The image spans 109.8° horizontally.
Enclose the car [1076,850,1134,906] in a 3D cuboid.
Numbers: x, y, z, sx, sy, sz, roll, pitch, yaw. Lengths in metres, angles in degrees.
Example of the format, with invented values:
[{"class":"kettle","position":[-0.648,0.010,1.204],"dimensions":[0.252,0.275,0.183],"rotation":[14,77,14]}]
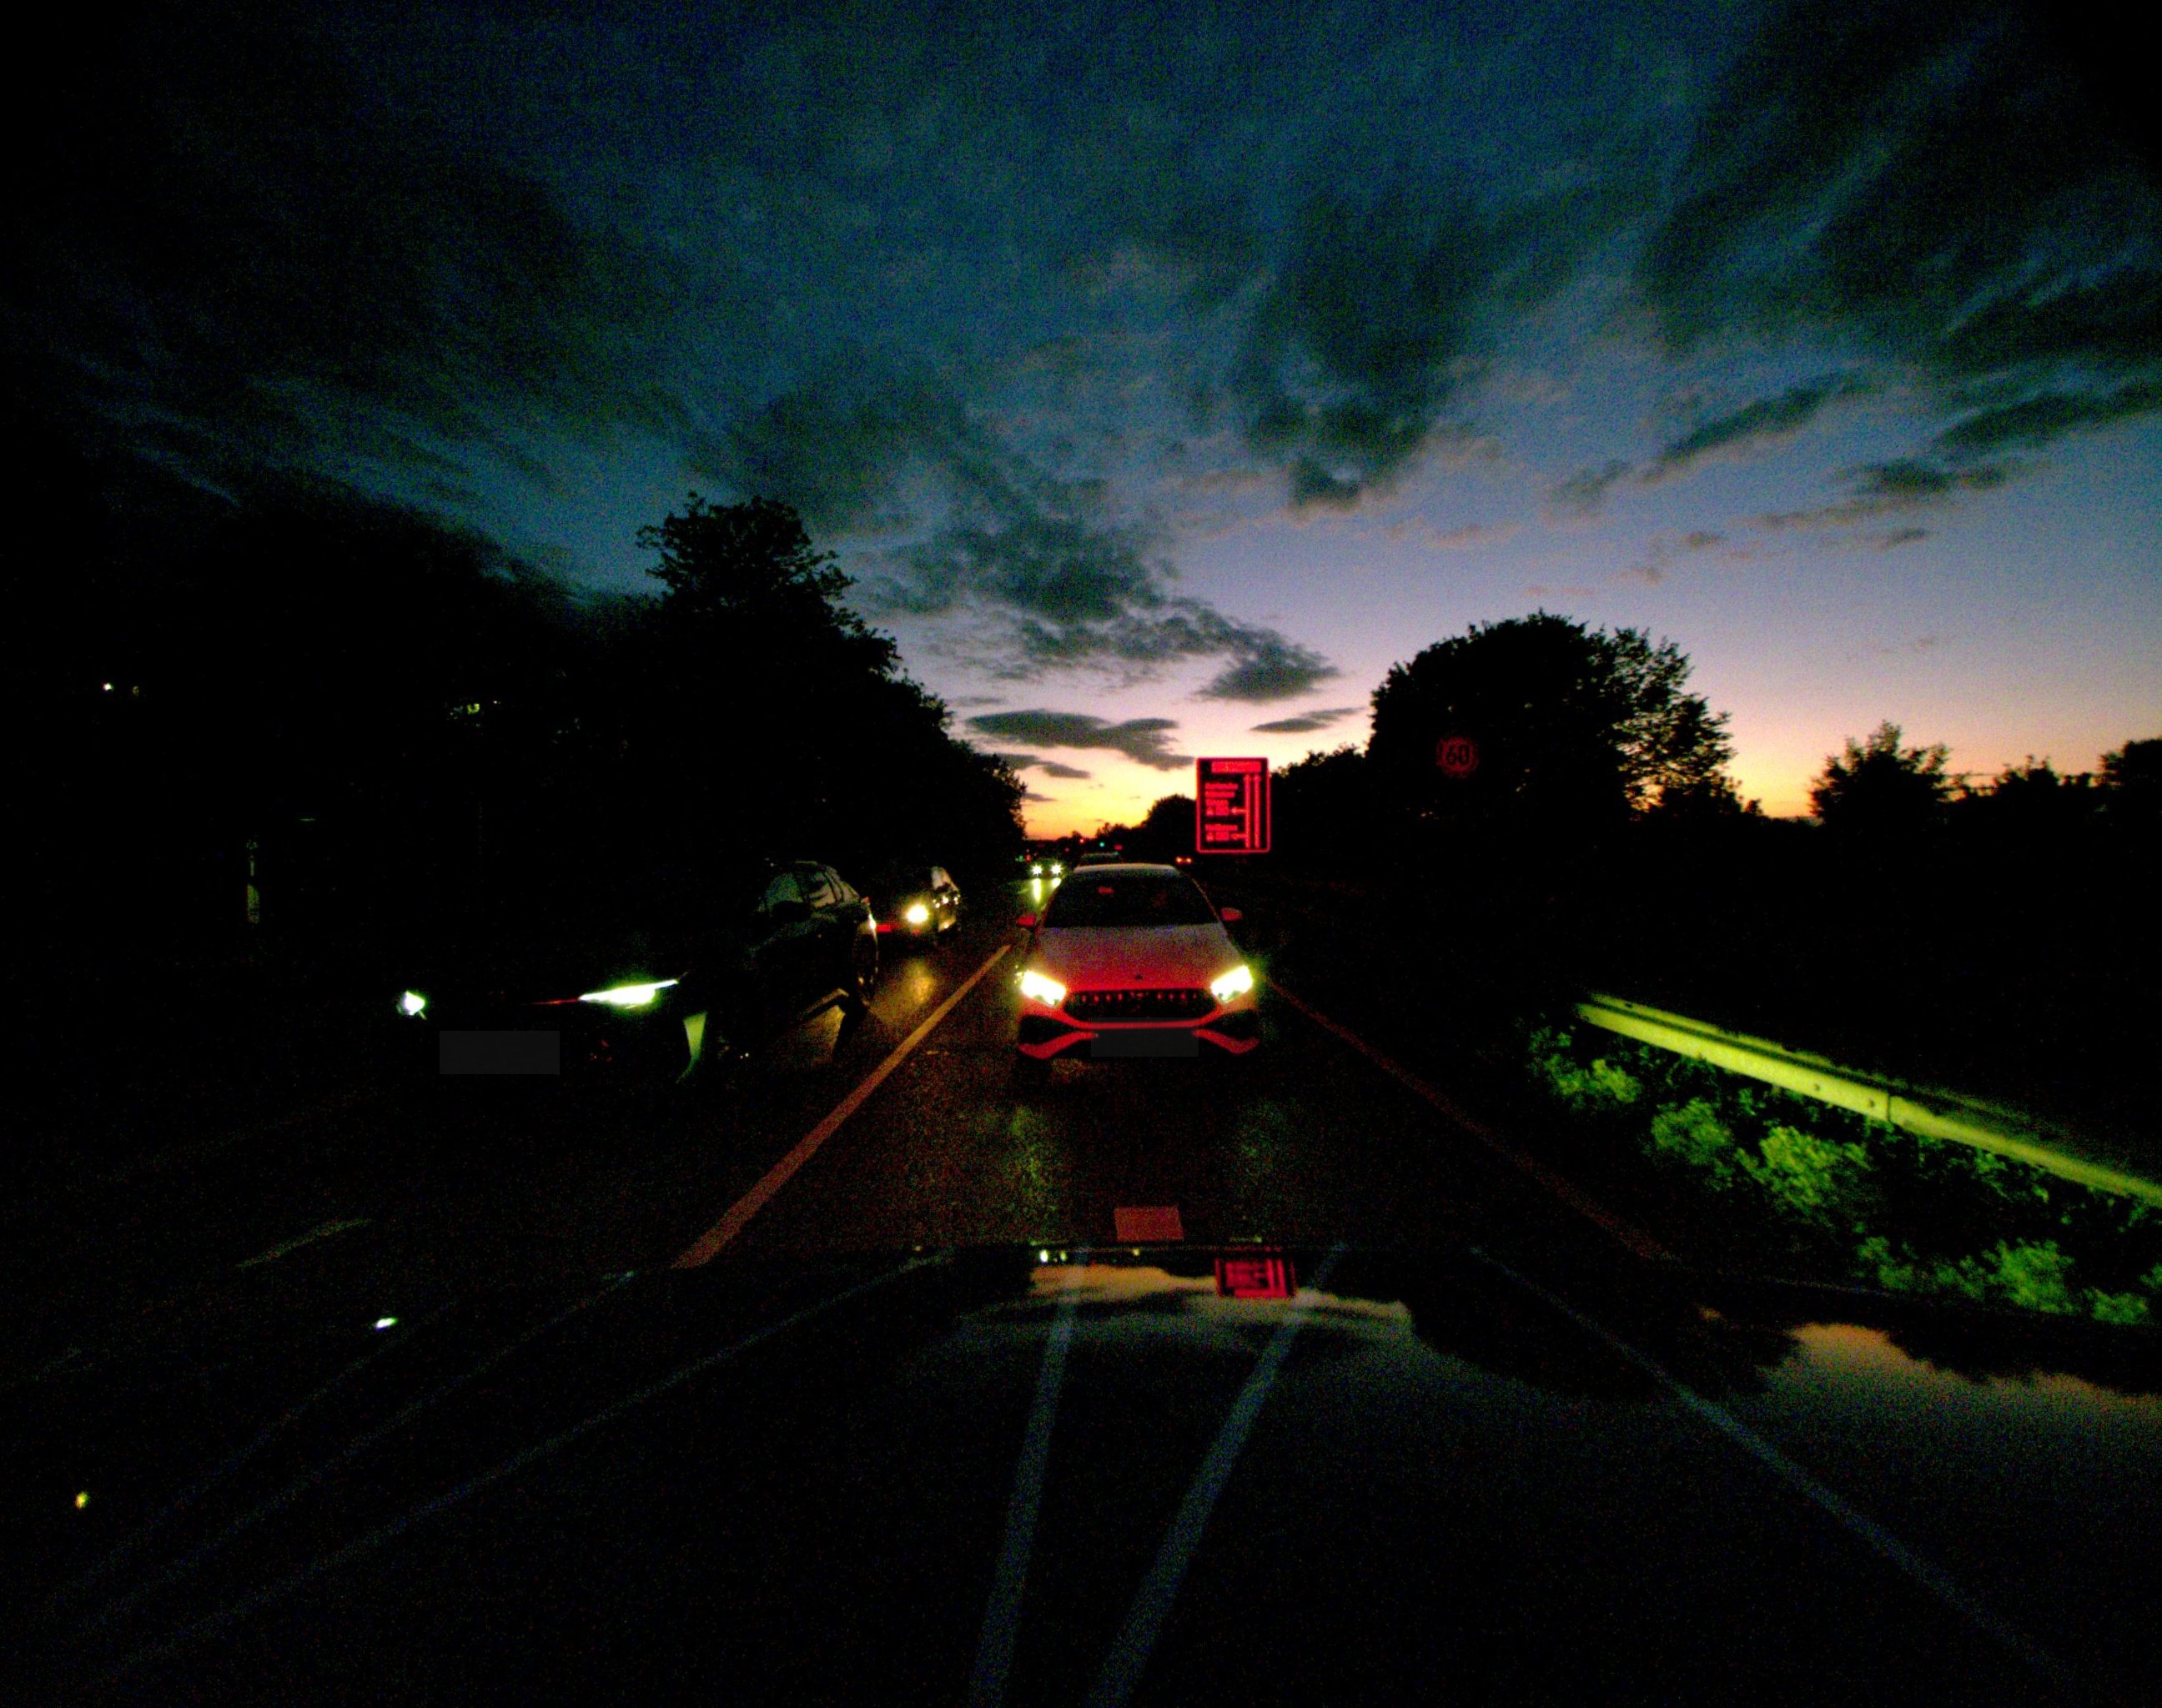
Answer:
[{"class":"car","position":[0.744,0.766,26.065],"dimensions":[1.760,1.692,4.249],"rotation":[-2,0,0]}]

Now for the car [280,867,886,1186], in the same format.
[{"class":"car","position":[-3.174,0.948,6.140],"dimensions":[1.901,1.547,4.301],"rotation":[-3,0,2]}]

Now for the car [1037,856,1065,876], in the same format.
[{"class":"car","position":[-2.270,0.915,58.407],"dimensions":[1.819,1.360,3.999],"rotation":[-2,1,1]}]

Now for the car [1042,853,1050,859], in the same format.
[{"class":"car","position":[-8.221,0.418,179.409],"dimensions":[1.606,1.291,3.552],"rotation":[-2,1,-1]}]

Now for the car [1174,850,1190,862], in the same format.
[{"class":"car","position":[14.388,0.307,108.147],"dimensions":[1.781,1.551,3.999],"rotation":[-2,1,1]}]

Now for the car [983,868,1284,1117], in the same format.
[{"class":"car","position":[0.400,0.921,7.106],"dimensions":[1.819,1.428,4.647],"rotation":[-3,0,2]}]

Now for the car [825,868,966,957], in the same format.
[{"class":"car","position":[-3.360,1.010,14.470],"dimensions":[1.621,1.405,3.756],"rotation":[-1,0,2]}]
